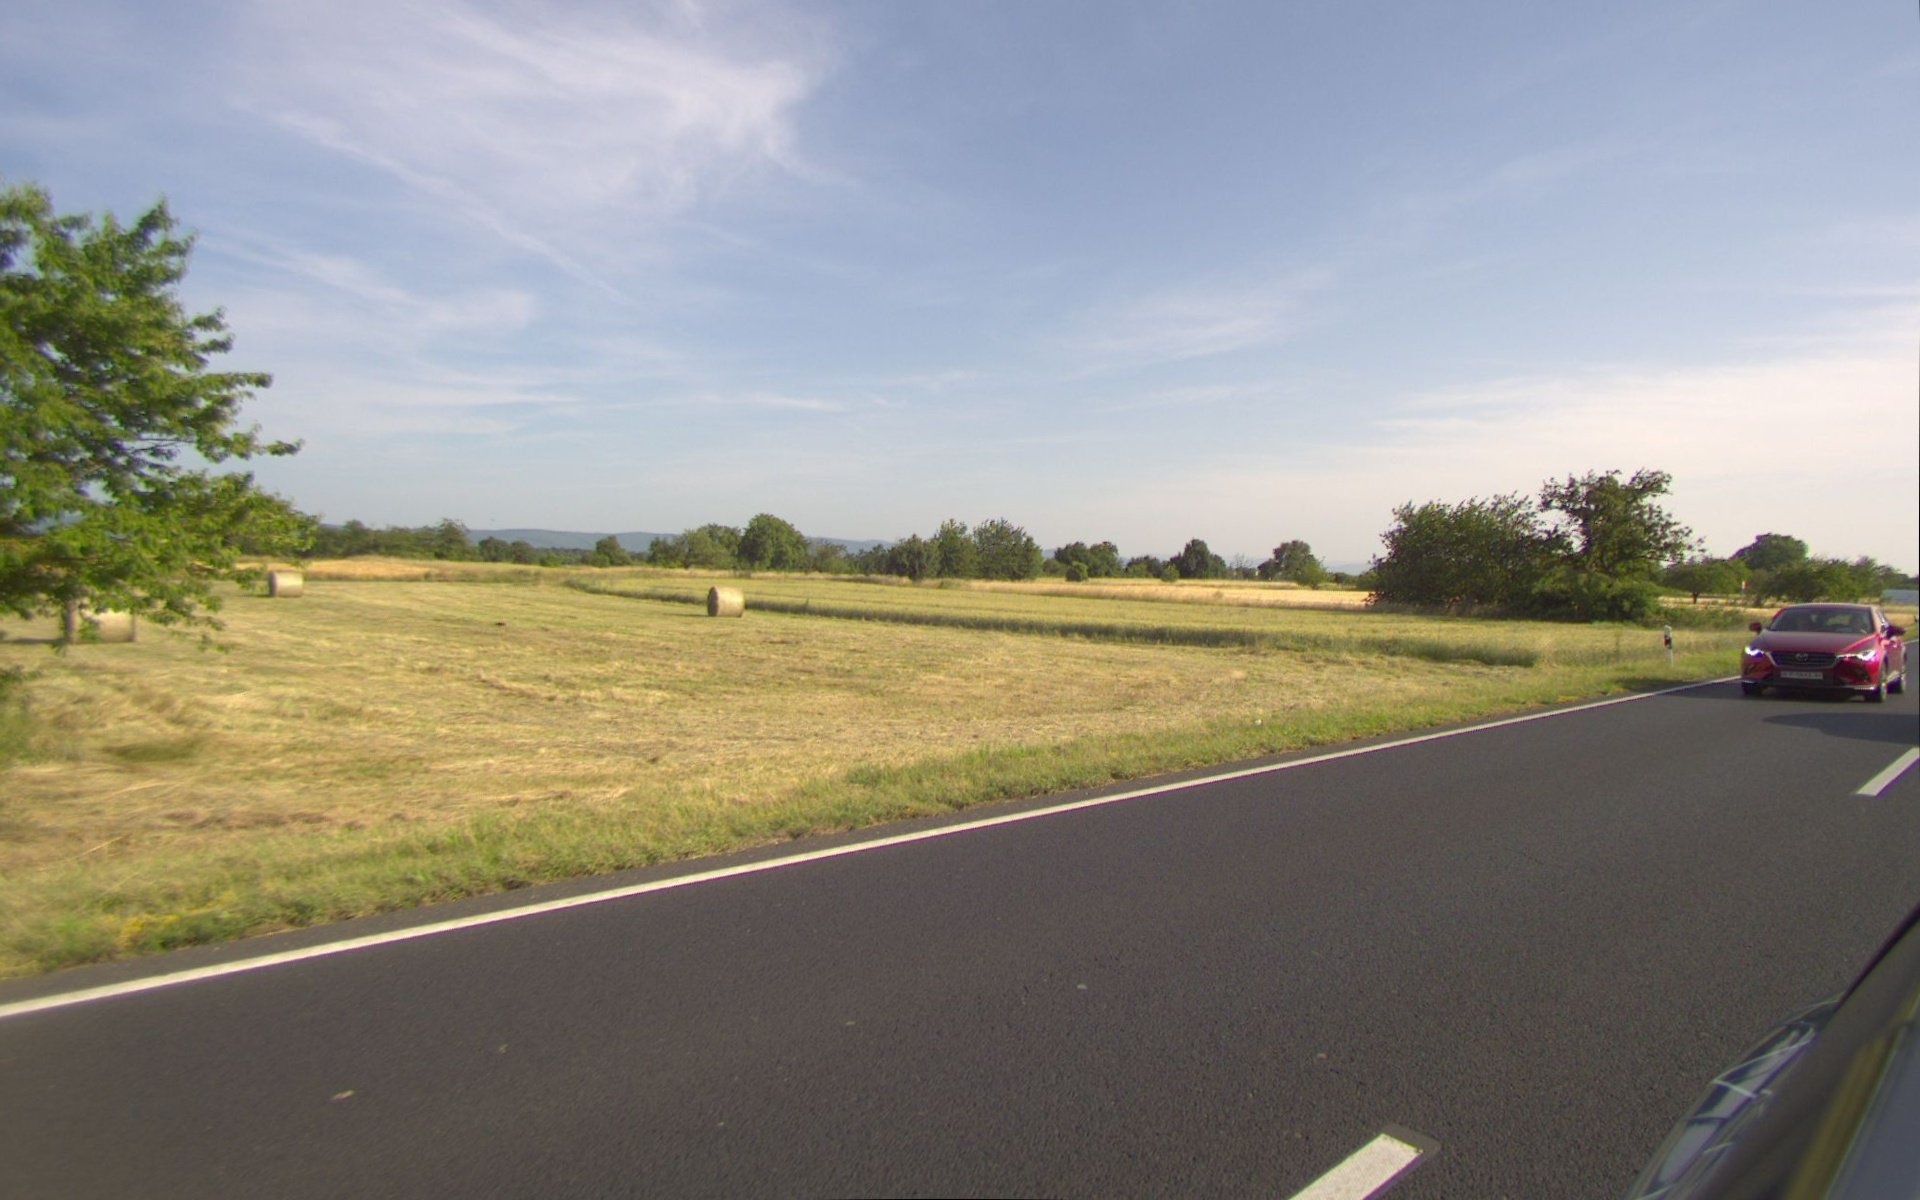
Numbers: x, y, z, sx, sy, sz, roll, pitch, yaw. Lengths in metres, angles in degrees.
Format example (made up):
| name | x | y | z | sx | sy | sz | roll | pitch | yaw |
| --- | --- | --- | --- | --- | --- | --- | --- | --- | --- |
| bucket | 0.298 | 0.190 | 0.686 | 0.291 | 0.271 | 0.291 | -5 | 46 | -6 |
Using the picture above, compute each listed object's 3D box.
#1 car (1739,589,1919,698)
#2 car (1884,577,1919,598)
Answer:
| name | x | y | z | sx | sy | sz | roll | pitch | yaw |
| --- | --- | --- | --- | --- | --- | --- | --- | --- | --- |
| car | 14.497 | 0.609 | 16.748 | 4.423 | 1.524 | 1.707 | -1 | 1 | -41 |
| car | 125.216 | -1.568 | 131.566 | 2.049 | 2.702 | 7.229 | -1 | 2 | -26 |
